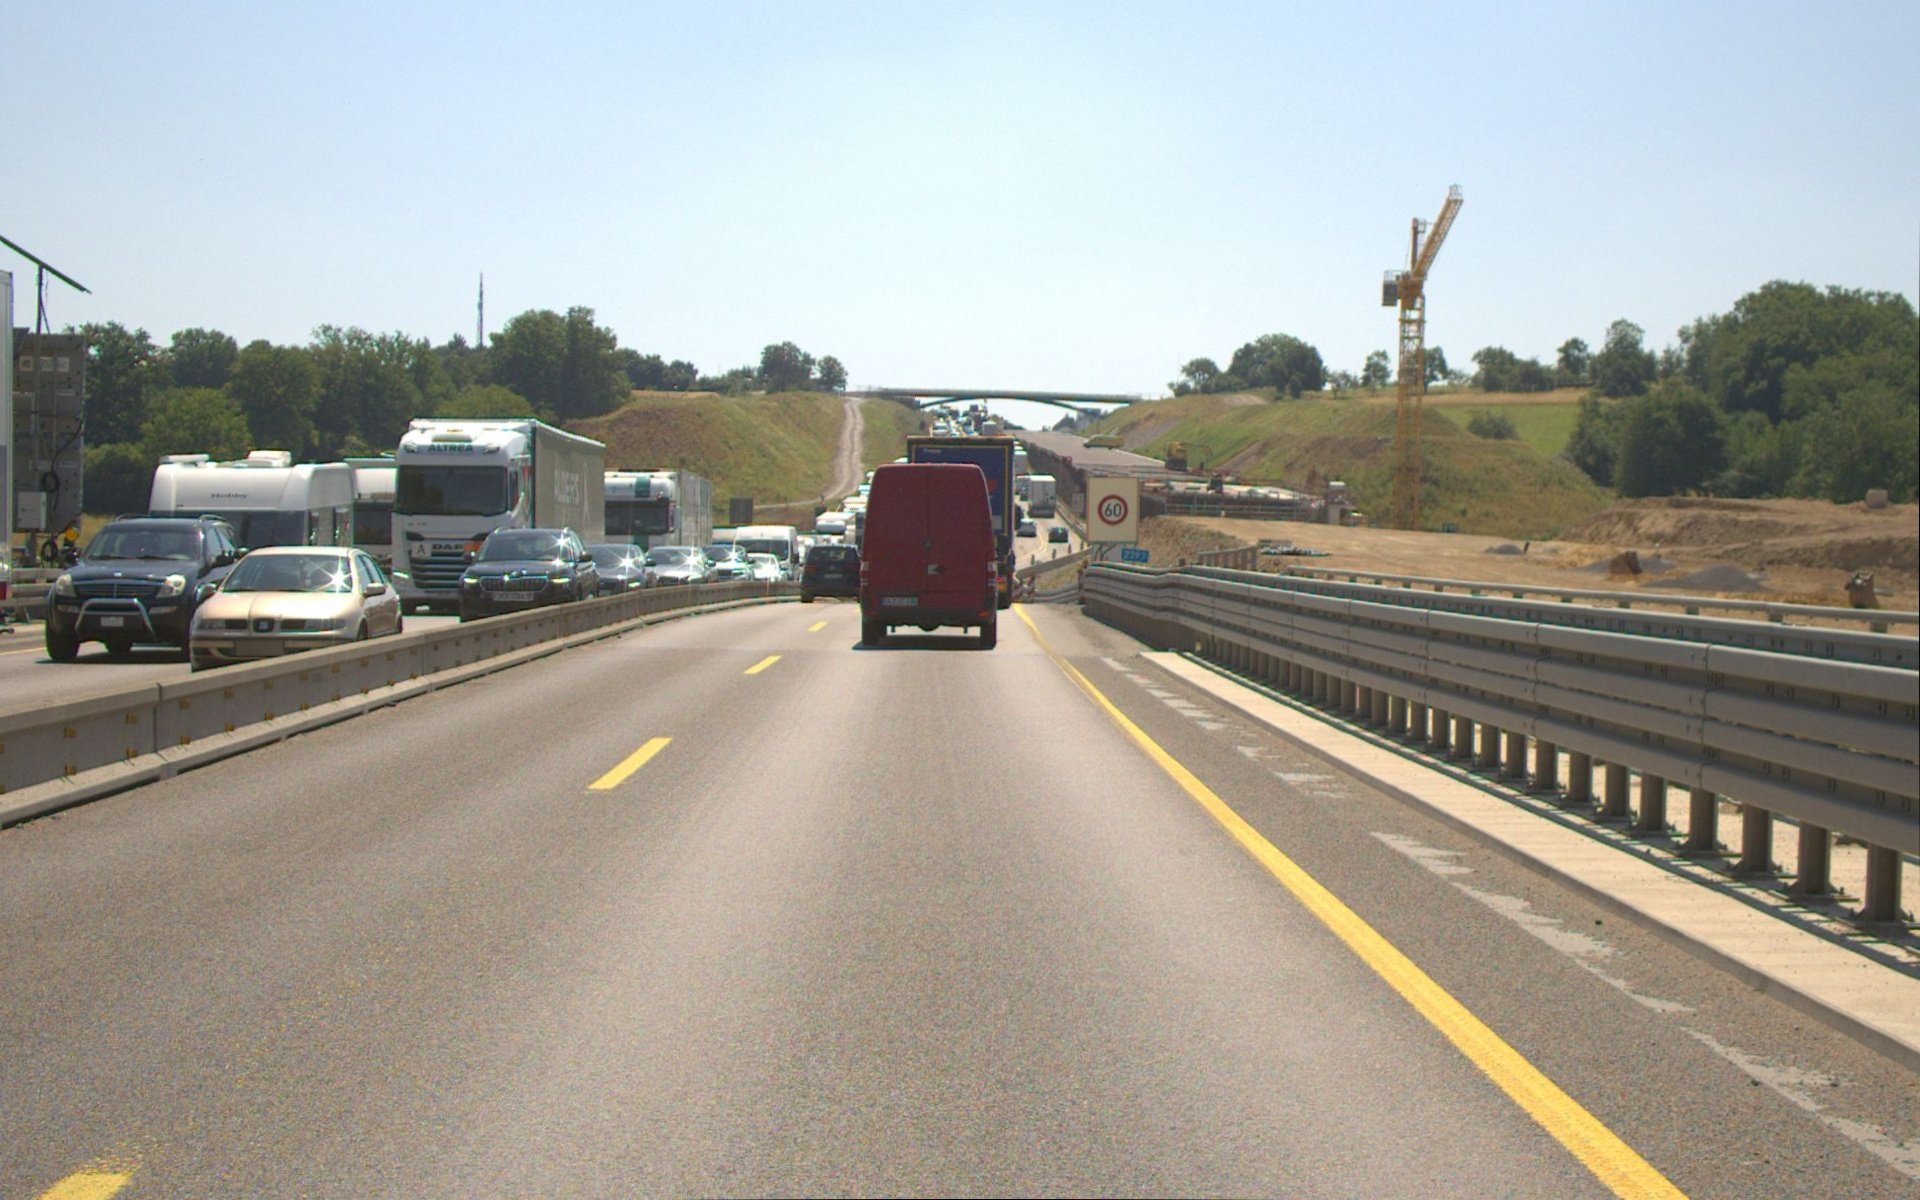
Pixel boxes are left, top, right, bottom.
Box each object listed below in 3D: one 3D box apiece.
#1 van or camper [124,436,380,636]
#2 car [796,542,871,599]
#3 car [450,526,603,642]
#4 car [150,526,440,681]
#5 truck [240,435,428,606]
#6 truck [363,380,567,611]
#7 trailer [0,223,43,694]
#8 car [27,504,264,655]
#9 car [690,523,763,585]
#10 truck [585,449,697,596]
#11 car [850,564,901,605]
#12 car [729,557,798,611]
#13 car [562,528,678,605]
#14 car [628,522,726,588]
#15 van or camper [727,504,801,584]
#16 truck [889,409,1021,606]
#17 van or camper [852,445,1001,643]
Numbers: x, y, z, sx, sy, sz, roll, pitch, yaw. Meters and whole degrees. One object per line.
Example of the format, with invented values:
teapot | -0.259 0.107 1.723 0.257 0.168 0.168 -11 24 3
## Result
van or camper | -10.009 -0.918 49.092 2.503 2.689 5.243 0 1 1
car | -3.490 -0.843 95.621 2.012 1.540 4.133 1 1 -2
car | -6.811 -0.291 54.409 1.847 1.682 4.619 2 1 -1
car | -6.943 -0.008 36.348 1.901 1.456 4.194 -2 2 5
truck | -14.693 -1.876 81.266 2.904 3.752 8.368 1 1 0
truck | -10.159 -2.127 71.309 3.078 4.521 7.103 1 1 1
trailer | -9.868 -1.136 25.884 2.806 4.162 11.799 1 2 0
car | -9.941 -0.291 42.297 1.767 1.728 4.791 1 1 0
car | -6.572 -1.318 97.089 1.756 1.641 4.156 2 1 -1
truck | -9.803 -2.388 106.046 2.806 4.377 6.225 0 1 0
car | -3.479 -0.660 142.272 2.012 1.539 4.133 2 1 -1
car | -6.023 -0.513 104.927 1.993 1.493 4.976 2 1 -4
car | -6.739 -0.686 68.538 1.777 1.415 4.538 2 1 0
car | -6.713 -1.078 81.835 1.865 1.454 4.607 2 1 0
van or camper | -6.453 -1.870 113.739 2.218 2.503 6.534 2 1 -2
truck | -0.192 -2.293 86.078 3.020 4.677 6.933 -1 1 -2
van or camper | -0.541 -0.827 50.409 2.029 2.735 4.516 1 1 -2
